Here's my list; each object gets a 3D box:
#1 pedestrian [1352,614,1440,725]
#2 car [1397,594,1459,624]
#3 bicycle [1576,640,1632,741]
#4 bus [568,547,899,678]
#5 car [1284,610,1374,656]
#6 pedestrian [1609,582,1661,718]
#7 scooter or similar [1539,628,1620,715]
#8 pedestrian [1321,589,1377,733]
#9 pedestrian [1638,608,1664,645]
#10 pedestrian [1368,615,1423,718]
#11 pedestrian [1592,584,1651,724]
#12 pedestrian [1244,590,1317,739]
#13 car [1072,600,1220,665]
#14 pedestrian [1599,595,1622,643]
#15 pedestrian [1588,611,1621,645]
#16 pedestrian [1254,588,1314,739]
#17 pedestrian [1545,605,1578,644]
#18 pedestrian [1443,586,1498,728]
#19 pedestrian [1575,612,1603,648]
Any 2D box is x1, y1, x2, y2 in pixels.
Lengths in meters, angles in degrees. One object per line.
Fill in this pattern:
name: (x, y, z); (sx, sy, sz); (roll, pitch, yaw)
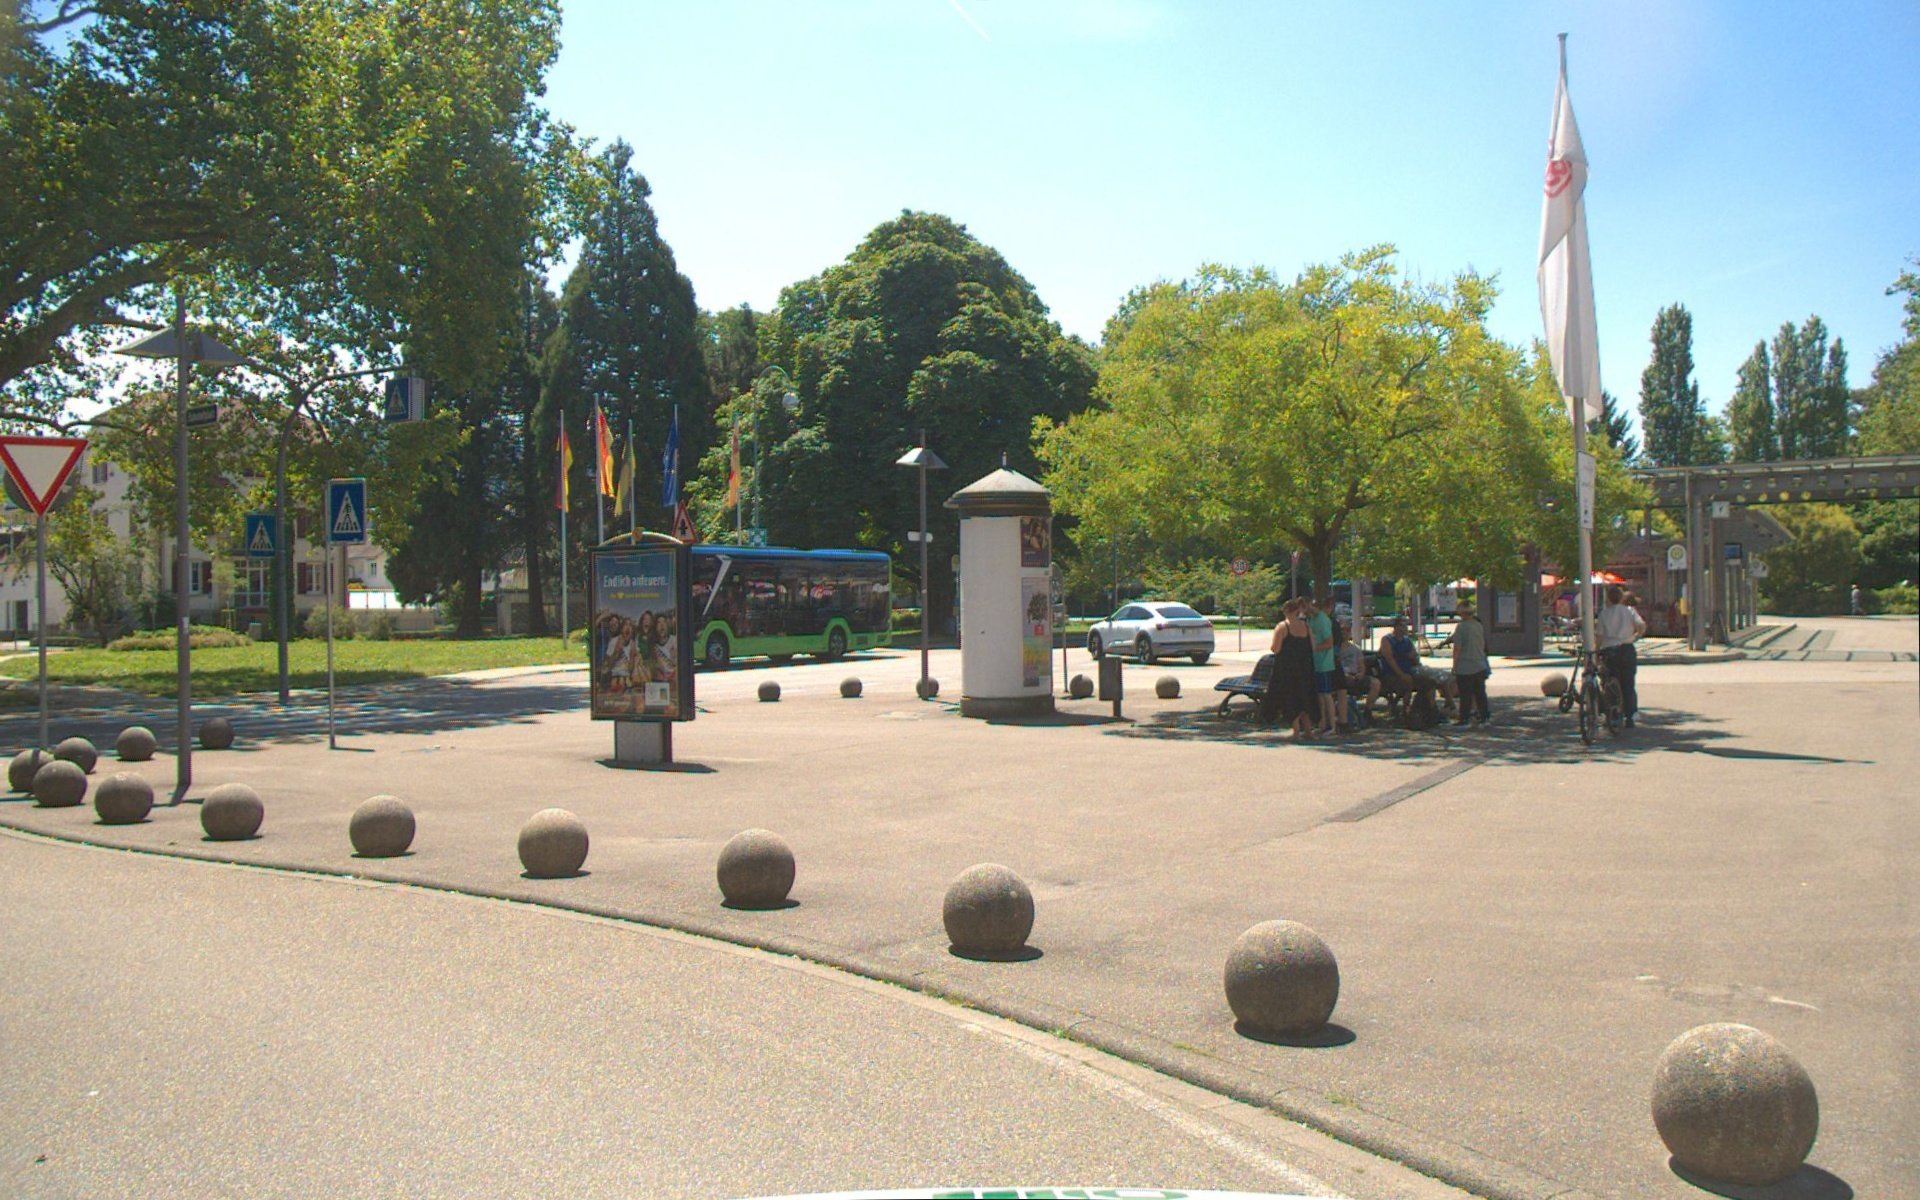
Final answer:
pedestrian: (5.698, 0.897, 21.657); (0.891, 1.410, 0.944); (-1, -1, -1)
car: (34.492, 0.673, 121.946); (2.167, 2.211, 4.860); (-1, 0, -16)
bicycle: (7.456, 1.016, 19.121); (0.412, 1.079, 1.946); (-1, -1, 26)
bus: (-6.120, 0.324, 48.153); (2.755, 3.340, 12.406); (-1, 0, 28)
car: (13.095, 1.144, 58.500); (1.890, 1.486, 4.718); (-4, -2, 28)
pedestrian: (8.628, 0.635, 21.148); (0.541, 1.715, 0.588); (-1, -1, 17)
scooter or similar: (8.381, 0.960, 22.374); (1.004, 1.159, 0.294); (-1, -1, 22)
pedestrian: (4.865, 0.761, 20.733); (0.571, 1.770, 0.600); (-1, -1, 4)
pedestrian: (23.628, 0.910, 56.546); (0.744, 1.226, 0.736); (1, 0, 29)
pedestrian: (6.015, 0.914, 22.842); (0.585, 1.388, 0.600); (-1, 0, 1)
pedestrian: (8.204, 0.662, 20.539); (0.604, 1.715, 0.591); (-1, -1, 17)
pedestrian: (3.935, 0.782, 20.312); (0.680, 1.795, 0.582); (-1, -1, 38)
car: (5.045, 0.878, 45.569); (1.956, 1.655, 4.743); (-1, 0, -24)
pedestrian: (23.882, 0.706, 60.696); (0.673, 1.768, 0.706); (-1, -1, 29)
pedestrian: (22.425, 0.969, 57.556); (0.875, 1.181, 0.688); (0, -1, -6)
pedestrian: (3.855, 0.749, 19.724); (0.612, 1.770, 0.548); (-1, -1, 3)
pedestrian: (21.224, 0.856, 58.353); (0.875, 1.335, 0.688); (0, -1, -6)
pedestrian: (6.474, 0.717, 21.005); (0.500, 1.770, 0.571); (-1, -1, 0)
pedestrian: (20.548, 0.977, 54.002); (0.674, 1.181, 0.892); (-1, -1, 33)
